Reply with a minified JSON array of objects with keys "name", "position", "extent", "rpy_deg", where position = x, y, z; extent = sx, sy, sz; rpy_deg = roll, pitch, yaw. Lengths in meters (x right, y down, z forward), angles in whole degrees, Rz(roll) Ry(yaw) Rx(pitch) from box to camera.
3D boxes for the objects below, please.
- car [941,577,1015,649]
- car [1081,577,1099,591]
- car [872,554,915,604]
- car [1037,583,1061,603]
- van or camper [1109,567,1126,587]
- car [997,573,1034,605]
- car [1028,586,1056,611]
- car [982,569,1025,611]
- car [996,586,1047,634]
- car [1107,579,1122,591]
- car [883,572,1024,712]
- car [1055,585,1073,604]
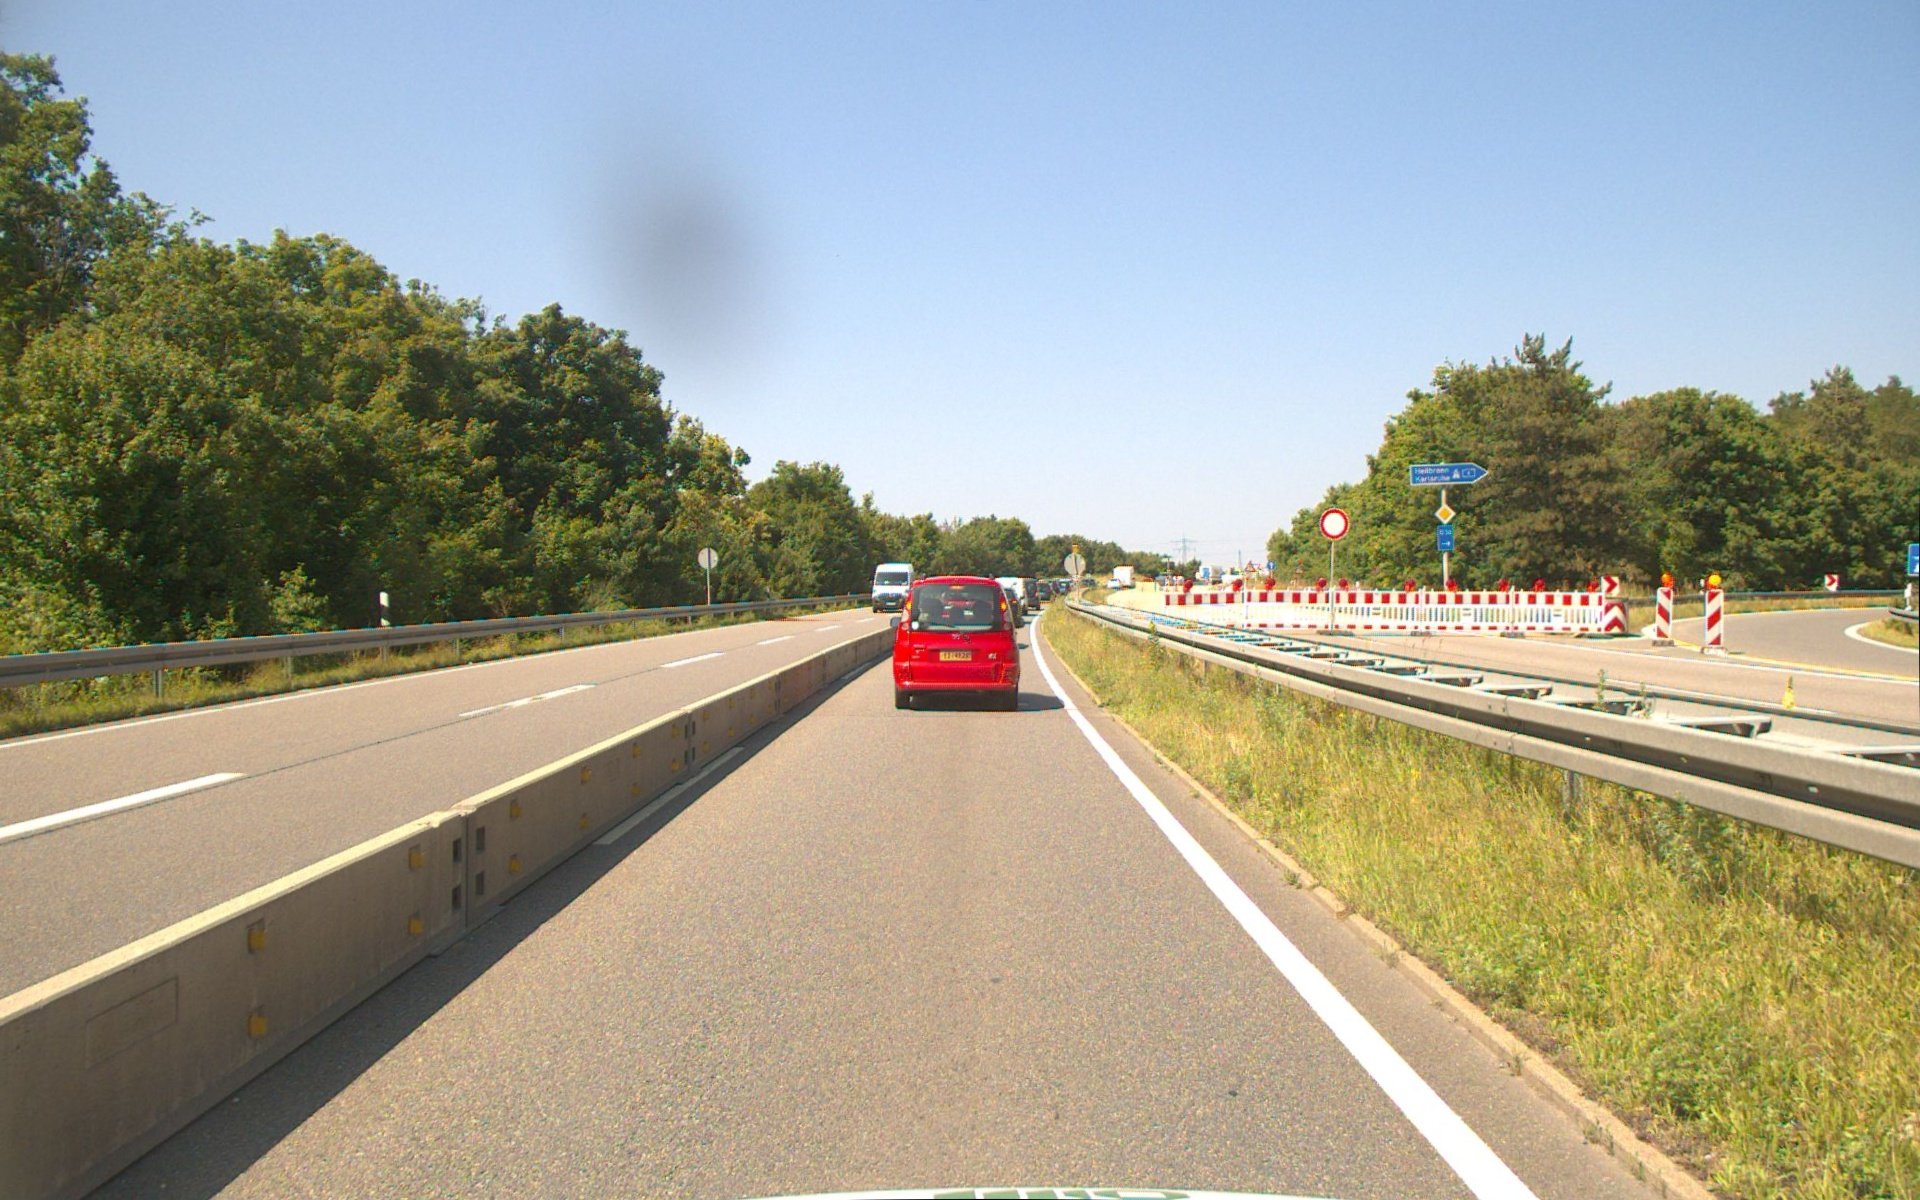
[{"name":"car","position":[0.441,0.304,42.609],"extent":[1.793,1.752,4.000],"rpy_deg":[-1,0,0]},{"name":"car","position":[15.004,-1.855,191.013],"extent":[1.951,1.579,4.003],"rpy_deg":[-1,0,6]},{"name":"car","position":[-3.471,-1.107,87.441],"extent":[2.019,2.528,5.560],"rpy_deg":[0,0,0]},{"name":"car","position":[7.498,-0.579,138.387],"extent":[1.952,1.612,4.002],"rpy_deg":[-1,0,4]},{"name":"van or camper","position":[22.433,-3.291,235.994],"extent":[2.279,2.754,4.596],"rpy_deg":[-1,0,4]},{"name":"car","position":[3.198,-0.652,95.888],"extent":[1.953,1.780,3.999],"rpy_deg":[-1,0,-1]},{"name":"car","position":[5.942,-0.123,120.612],"extent":[1.952,1.814,4.001],"rpy_deg":[-1,0,2]},{"name":"car","position":[2.156,-0.488,82.374],"extent":[1.953,2.038,3.999],"rpy_deg":[-1,0,-1]},{"name":"car","position":[2.522,0.376,67.309],"extent":[1.952,1.870,4.002],"rpy_deg":[-1,0,4]},{"name":"car","position":[20.977,-2.058,224.148],"extent":[1.951,1.512,4.003],"rpy_deg":[-1,0,5]},{"name":"car","position":[-0.029,0.506,22.418],"extent":[1.715,1.702,4.001],"rpy_deg":[1,0,2]},{"name":"car","position":[9.559,-0.510,151.348],"extent":[1.470,1.767,3.172],"rpy_deg":[-1,0,7]}]
